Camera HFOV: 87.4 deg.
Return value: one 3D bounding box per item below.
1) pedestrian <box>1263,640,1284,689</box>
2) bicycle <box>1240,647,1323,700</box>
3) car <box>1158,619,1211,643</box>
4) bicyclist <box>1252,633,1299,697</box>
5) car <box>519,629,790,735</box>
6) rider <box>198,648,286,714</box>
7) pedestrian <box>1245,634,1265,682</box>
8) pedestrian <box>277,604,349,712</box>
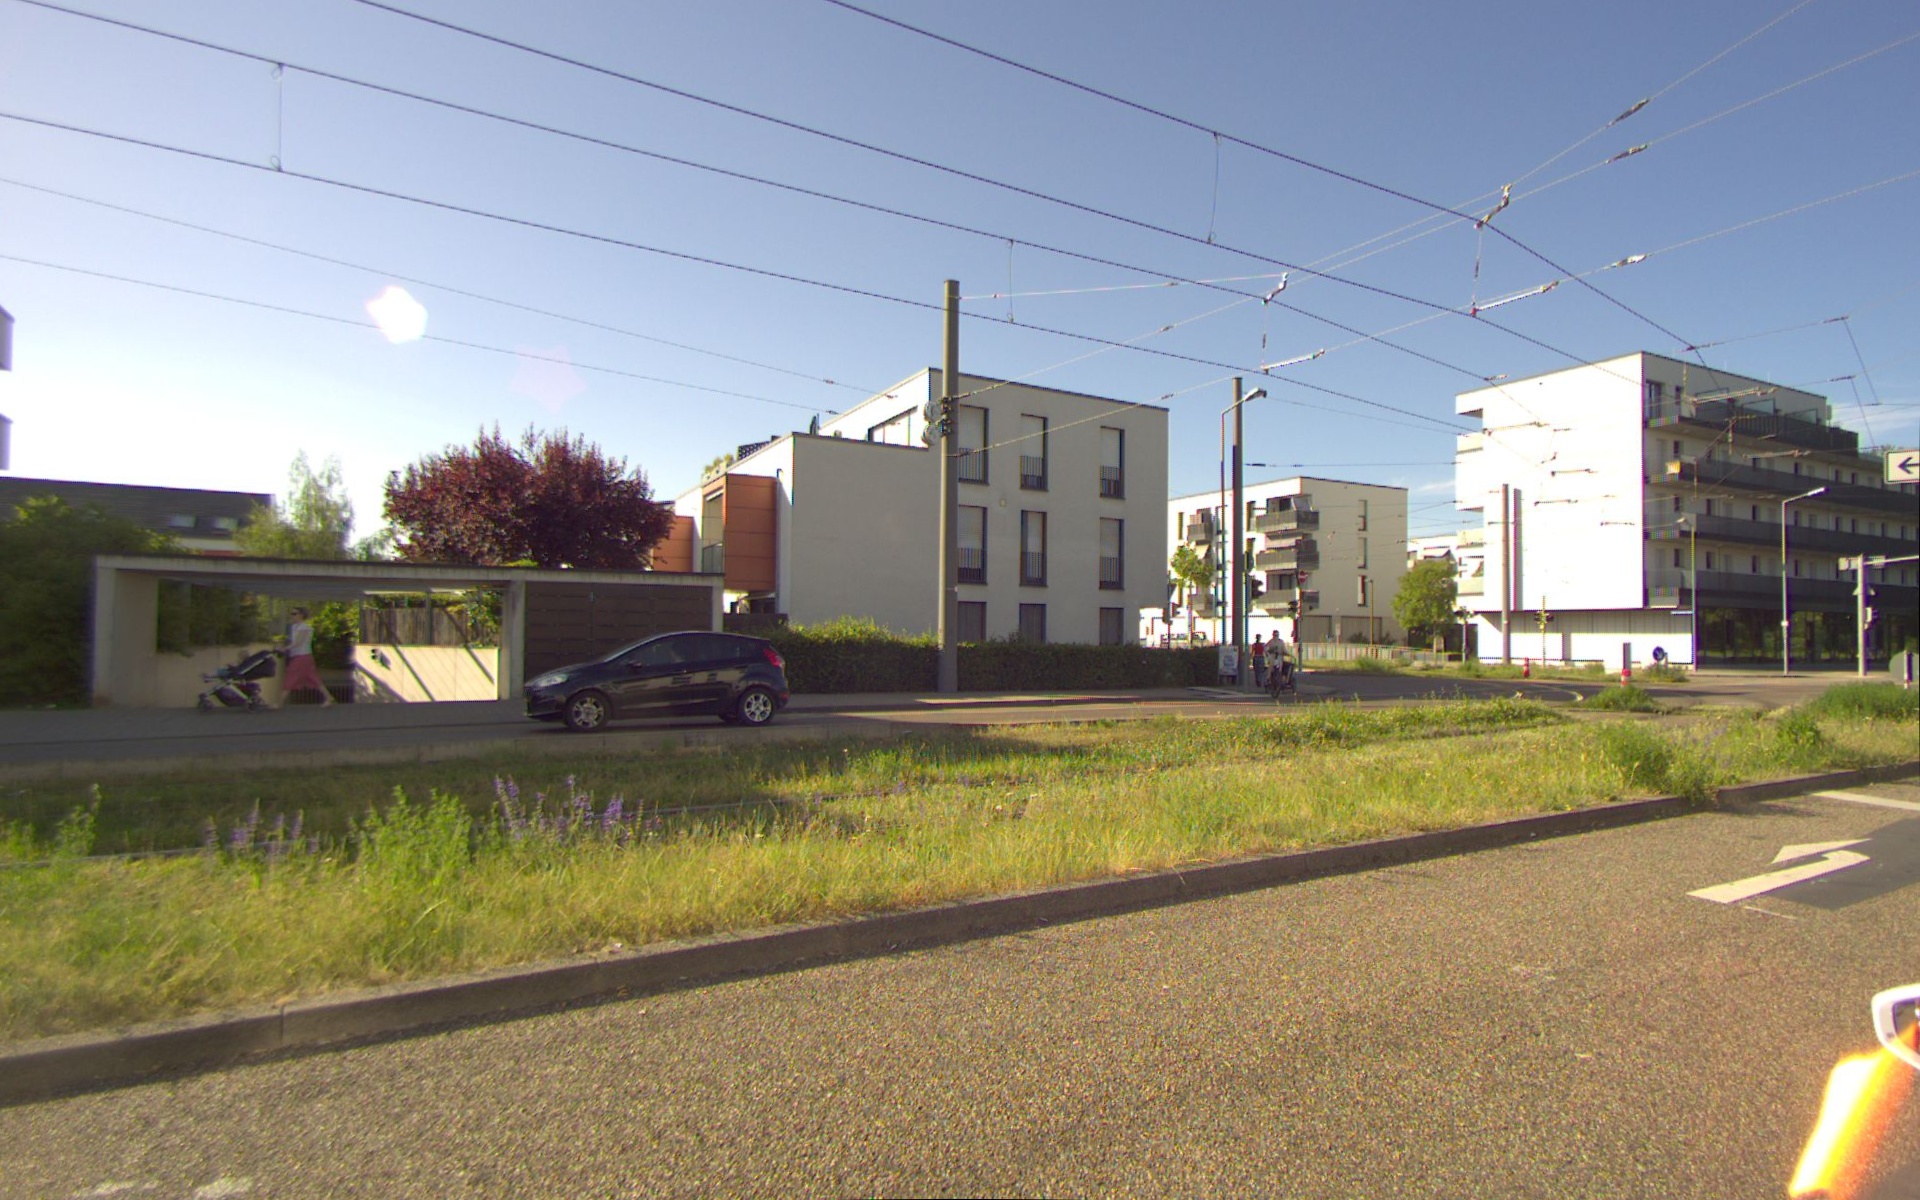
[{"bbox_3d":[9.791,2.009,31.389,0.548,1.483,0.611,1,0,23],"label":"pedestrian"},{"bbox_3d":[8.868,1.982,27.589,0.983,1.190,3.680,3,1,37],"label":"bicycle"},{"bbox_3d":[17.861,2.455,80.138,1.977,1.862,3.967,1,0,-31],"label":"car"},{"bbox_3d":[8.497,1.732,27.014,0.960,1.651,0.910,1,0,35],"label":"bicyclist"},{"bbox_3d":[-4.671,1.206,15.464,3.697,1.449,1.695,1,-4,-31],"label":"car"},{"bbox_3d":[-11.853,1.323,16.623,1.031,1.016,0.775,1,0,-25],"label":"rider"},{"bbox_3d":[9.338,1.828,31.818,0.548,1.483,0.742,1,0,19],"label":"pedestrian"},{"bbox_3d":[-10.948,0.962,17.027,0.897,1.771,0.813,1,0,-26],"label":"pedestrian"}]
